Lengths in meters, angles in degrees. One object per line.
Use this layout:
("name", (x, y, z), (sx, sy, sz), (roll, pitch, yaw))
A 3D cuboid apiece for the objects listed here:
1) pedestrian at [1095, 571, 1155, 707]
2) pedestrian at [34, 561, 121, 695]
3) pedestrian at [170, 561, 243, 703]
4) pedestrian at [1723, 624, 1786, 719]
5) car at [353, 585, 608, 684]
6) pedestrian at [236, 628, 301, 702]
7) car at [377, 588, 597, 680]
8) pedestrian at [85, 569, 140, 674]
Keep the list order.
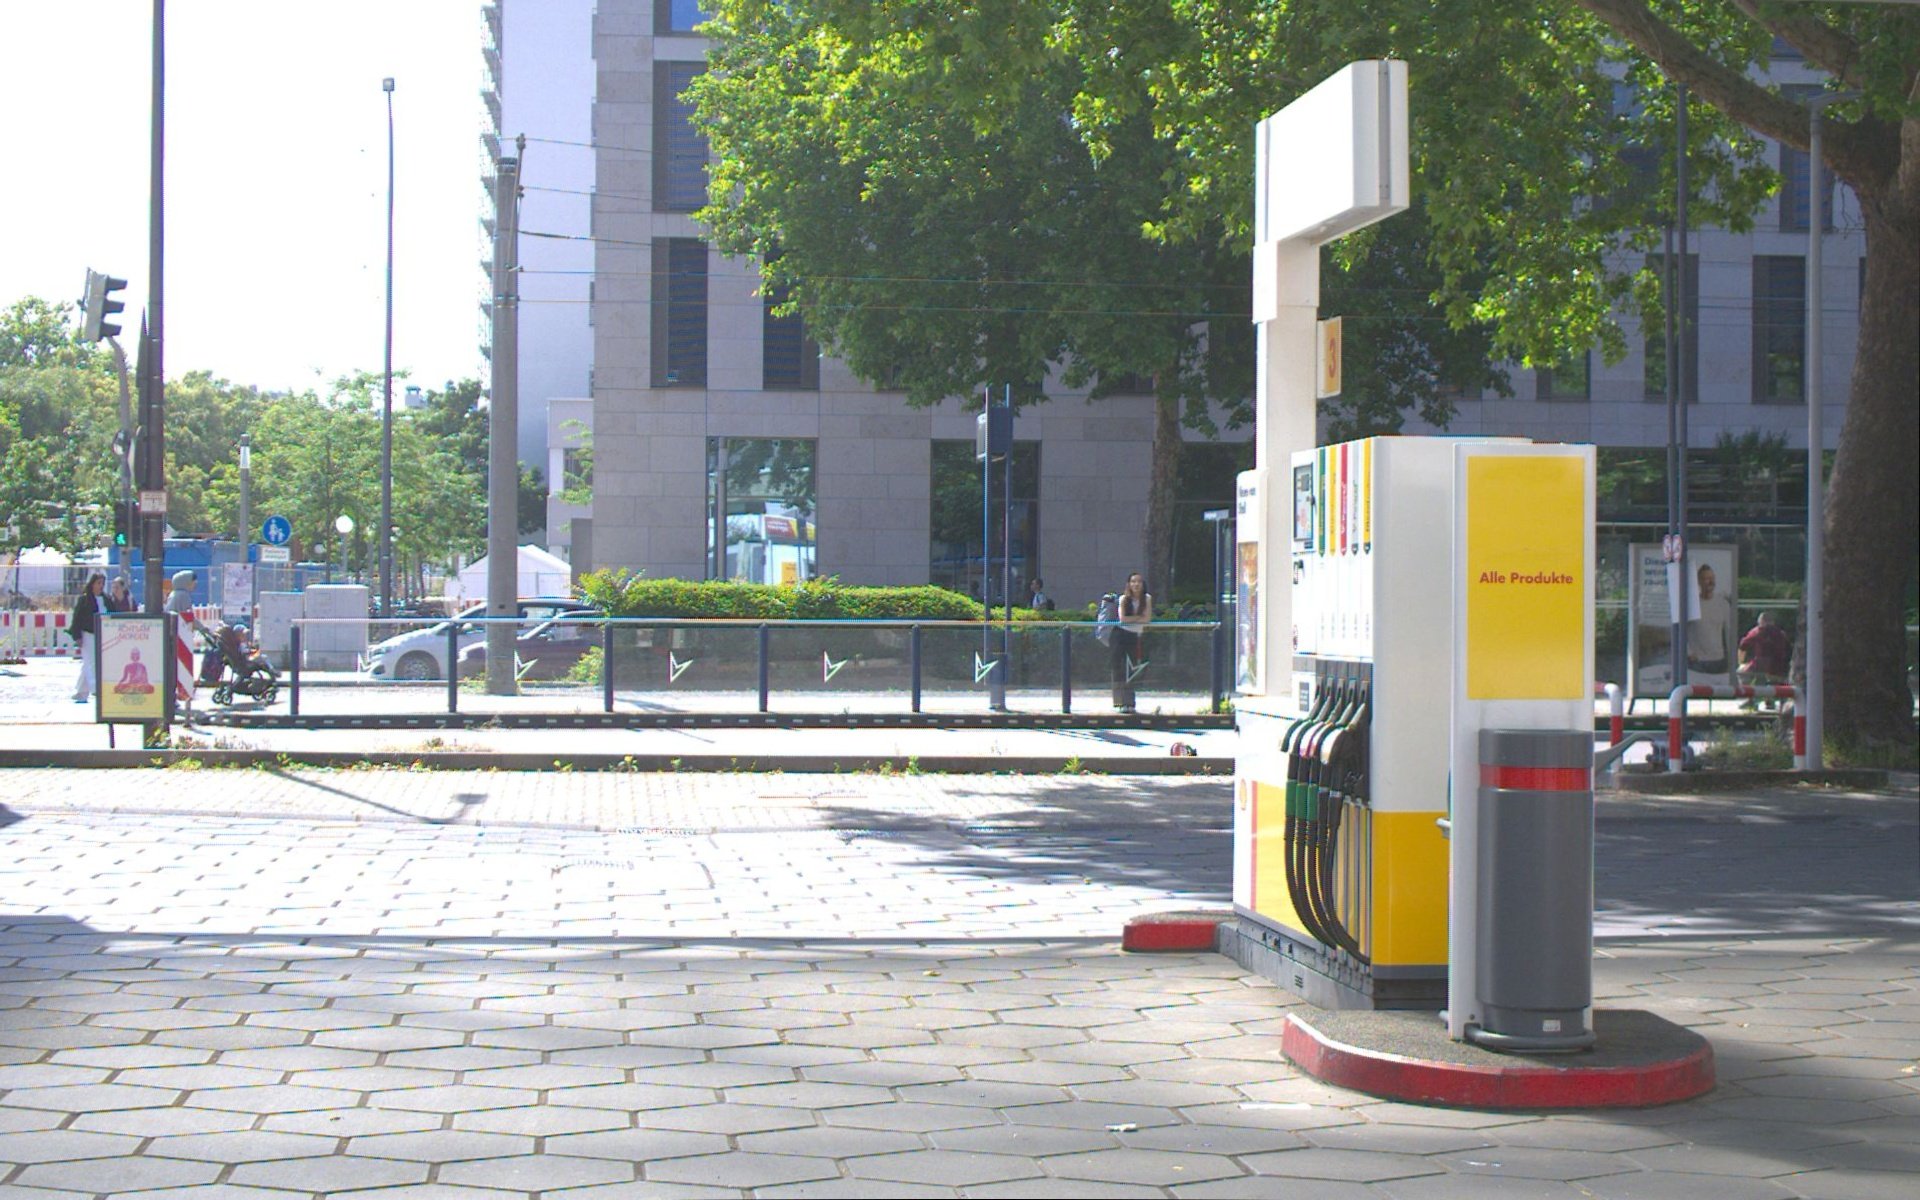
("pedestrian", (1.948, 0.455, 40.754), (0.584, 1.586, 0.670), (1, 2, -7))
("pedestrian", (-11.175, 0.355, 43.555), (0.932, 1.677, 0.503), (1, 0, 6))
("pedestrian", (-8.978, 0.374, 40.939), (0.776, 1.677, 0.503), (1, 0, -19))
("pedestrian", (9.674, 0.867, 41.857), (0.628, 1.134, 0.524), (1, 0, 0))
("car", (-7.809, 0.549, 55.831), (3.986, 1.547, 1.704), (1, 0, -11))
("pedestrian", (-8.282, 0.777, 41.185), (0.690, 0.877, 0.503), (1, 0, -19))
("car", (-8.219, 0.584, 59.658), (3.681, 1.547, 1.592), (1, 0, -11))
("pedestrian", (-12.443, 0.312, 50.474), (0.650, 1.535, 0.503), (1, 0, 3))
